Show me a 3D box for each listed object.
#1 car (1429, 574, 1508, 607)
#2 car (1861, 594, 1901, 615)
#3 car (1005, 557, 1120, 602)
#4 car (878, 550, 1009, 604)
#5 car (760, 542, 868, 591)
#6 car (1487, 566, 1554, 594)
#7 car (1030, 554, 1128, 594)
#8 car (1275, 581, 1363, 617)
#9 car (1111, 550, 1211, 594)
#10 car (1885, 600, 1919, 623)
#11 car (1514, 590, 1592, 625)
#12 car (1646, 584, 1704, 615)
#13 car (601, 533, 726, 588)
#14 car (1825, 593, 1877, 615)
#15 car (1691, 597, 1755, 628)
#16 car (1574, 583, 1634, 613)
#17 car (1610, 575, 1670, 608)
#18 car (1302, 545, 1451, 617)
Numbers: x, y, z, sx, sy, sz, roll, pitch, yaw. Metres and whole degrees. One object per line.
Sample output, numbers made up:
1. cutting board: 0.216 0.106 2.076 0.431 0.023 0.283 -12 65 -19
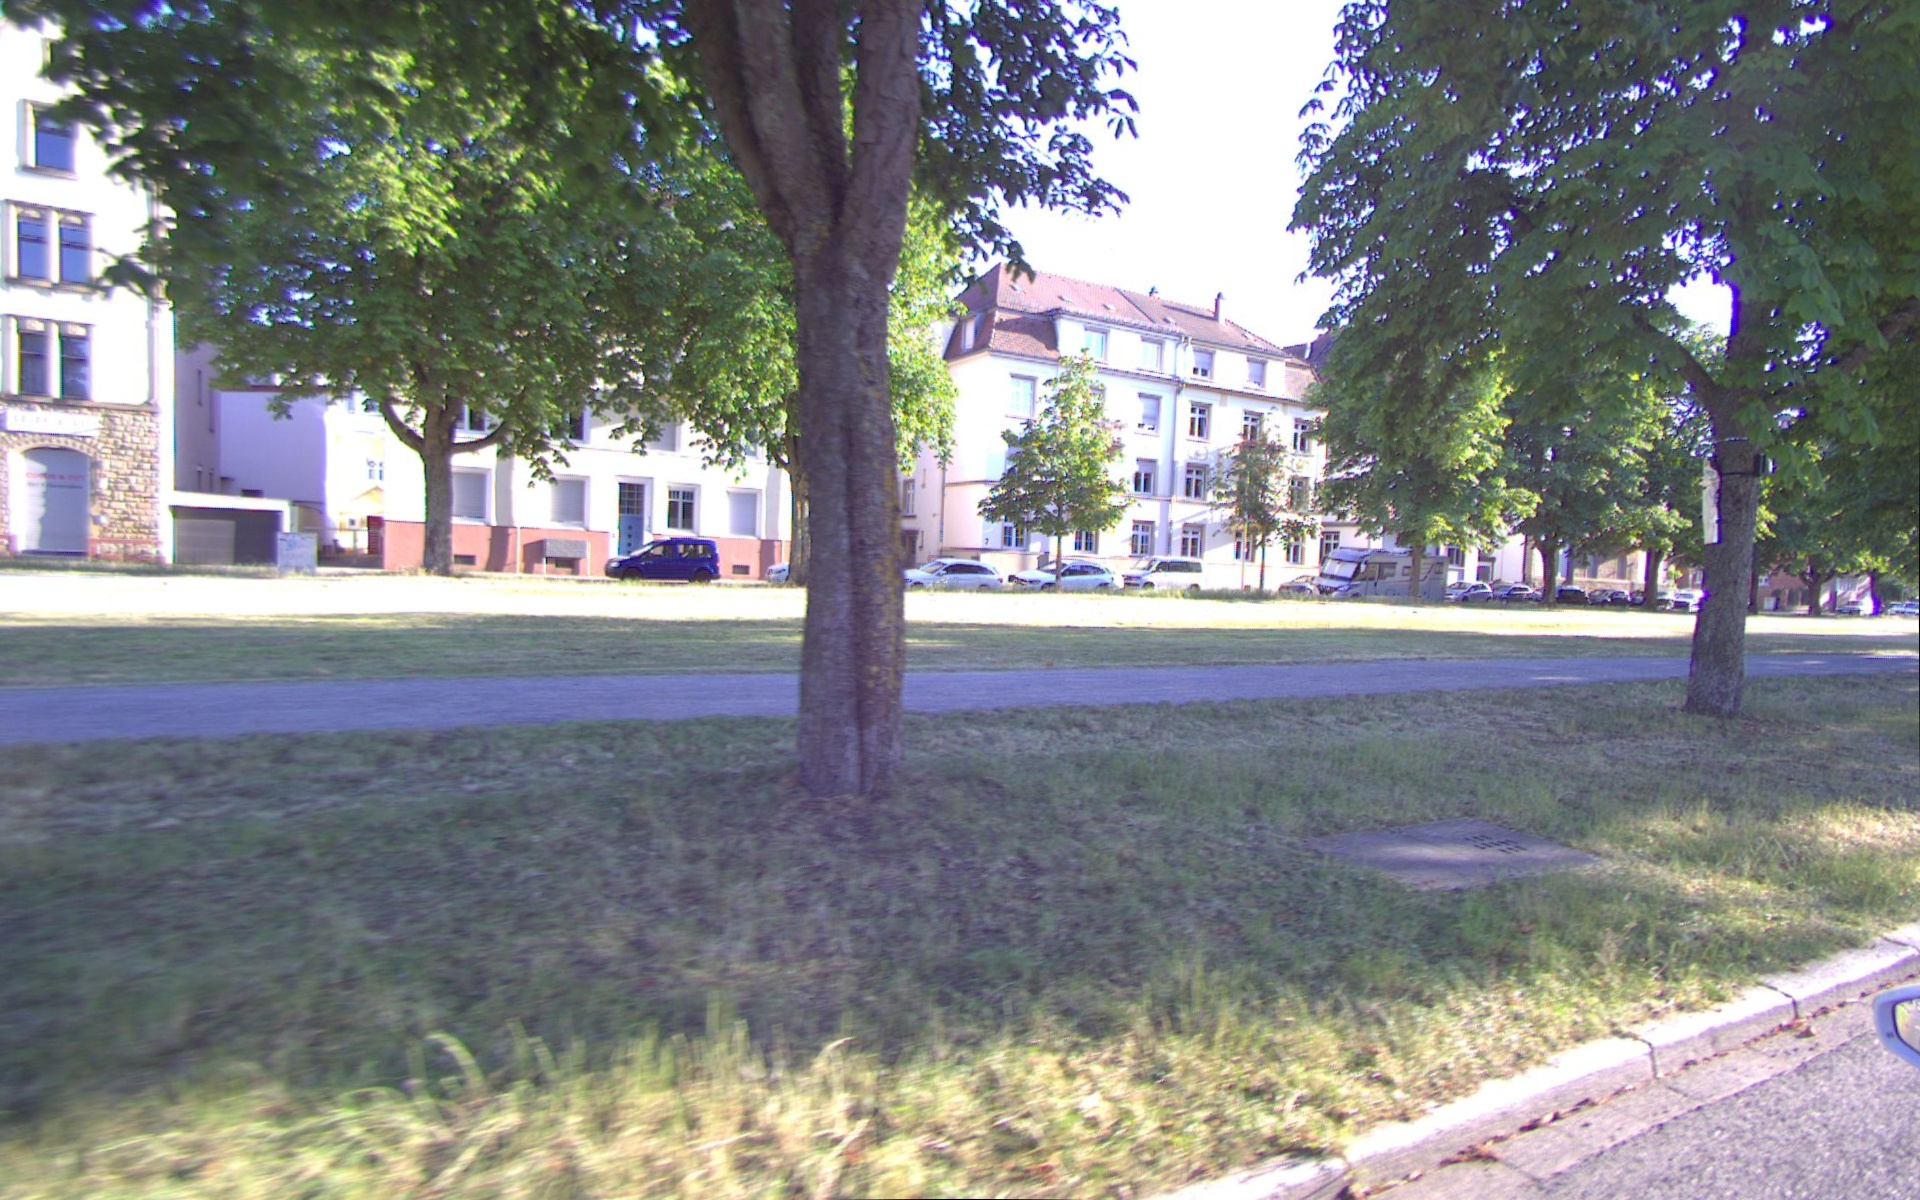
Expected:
1. car: 32.328 -0.588 63.830 5.101 1.712 1.983 2 5 -32
2. car: 86.856 0.450 94.689 3.811 1.665 1.631 2 5 -31
3. car: 4.189 -0.811 40.871 4.368 1.575 1.786 1 6 -31
4. car: -0.619 -0.873 38.171 4.513 1.681 1.985 2 5 -28
5. car: -6.060 -1.384 41.674 3.950 1.681 1.985 2 5 -28
6. car: 39.582 -1.405 70.920 4.319 1.681 1.985 2 5 -28
7. car: 5.755 -1.242 48.519 4.421 1.663 1.833 1 5 -29
8. car: 20.098 -0.048 56.221 4.513 1.681 1.985 2 5 -28
9. car: 10.253 -1.418 51.142 4.821 1.976 1.983 1 3 -31
10. car: 78.338 0.969 82.624 3.935 1.681 2.014 2 5 -29
11. car: 34.386 0.454 58.234 4.263 1.696 1.871 2 5 -29
12. car: 54.307 -0.024 76.275 3.955 2.041 1.983 2 5 -31
13. car: -11.456 -1.532 38.808 4.258 1.759 1.985 2 5 -28
14. car: 80.107 0.354 90.324 4.301 1.681 1.985 2 5 -28
15. car: 51.727 0.849 68.085 4.072 1.805 1.803 2 5 -29
16. car: 45.526 -0.132 70.986 3.869 1.827 1.856 2 5 -30
17. car: 49.607 -0.622 73.229 3.955 2.041 1.983 2 5 -31
18. car: 20.982 -0.914 50.440 7.758 3.173 2.381 1 6 -29
